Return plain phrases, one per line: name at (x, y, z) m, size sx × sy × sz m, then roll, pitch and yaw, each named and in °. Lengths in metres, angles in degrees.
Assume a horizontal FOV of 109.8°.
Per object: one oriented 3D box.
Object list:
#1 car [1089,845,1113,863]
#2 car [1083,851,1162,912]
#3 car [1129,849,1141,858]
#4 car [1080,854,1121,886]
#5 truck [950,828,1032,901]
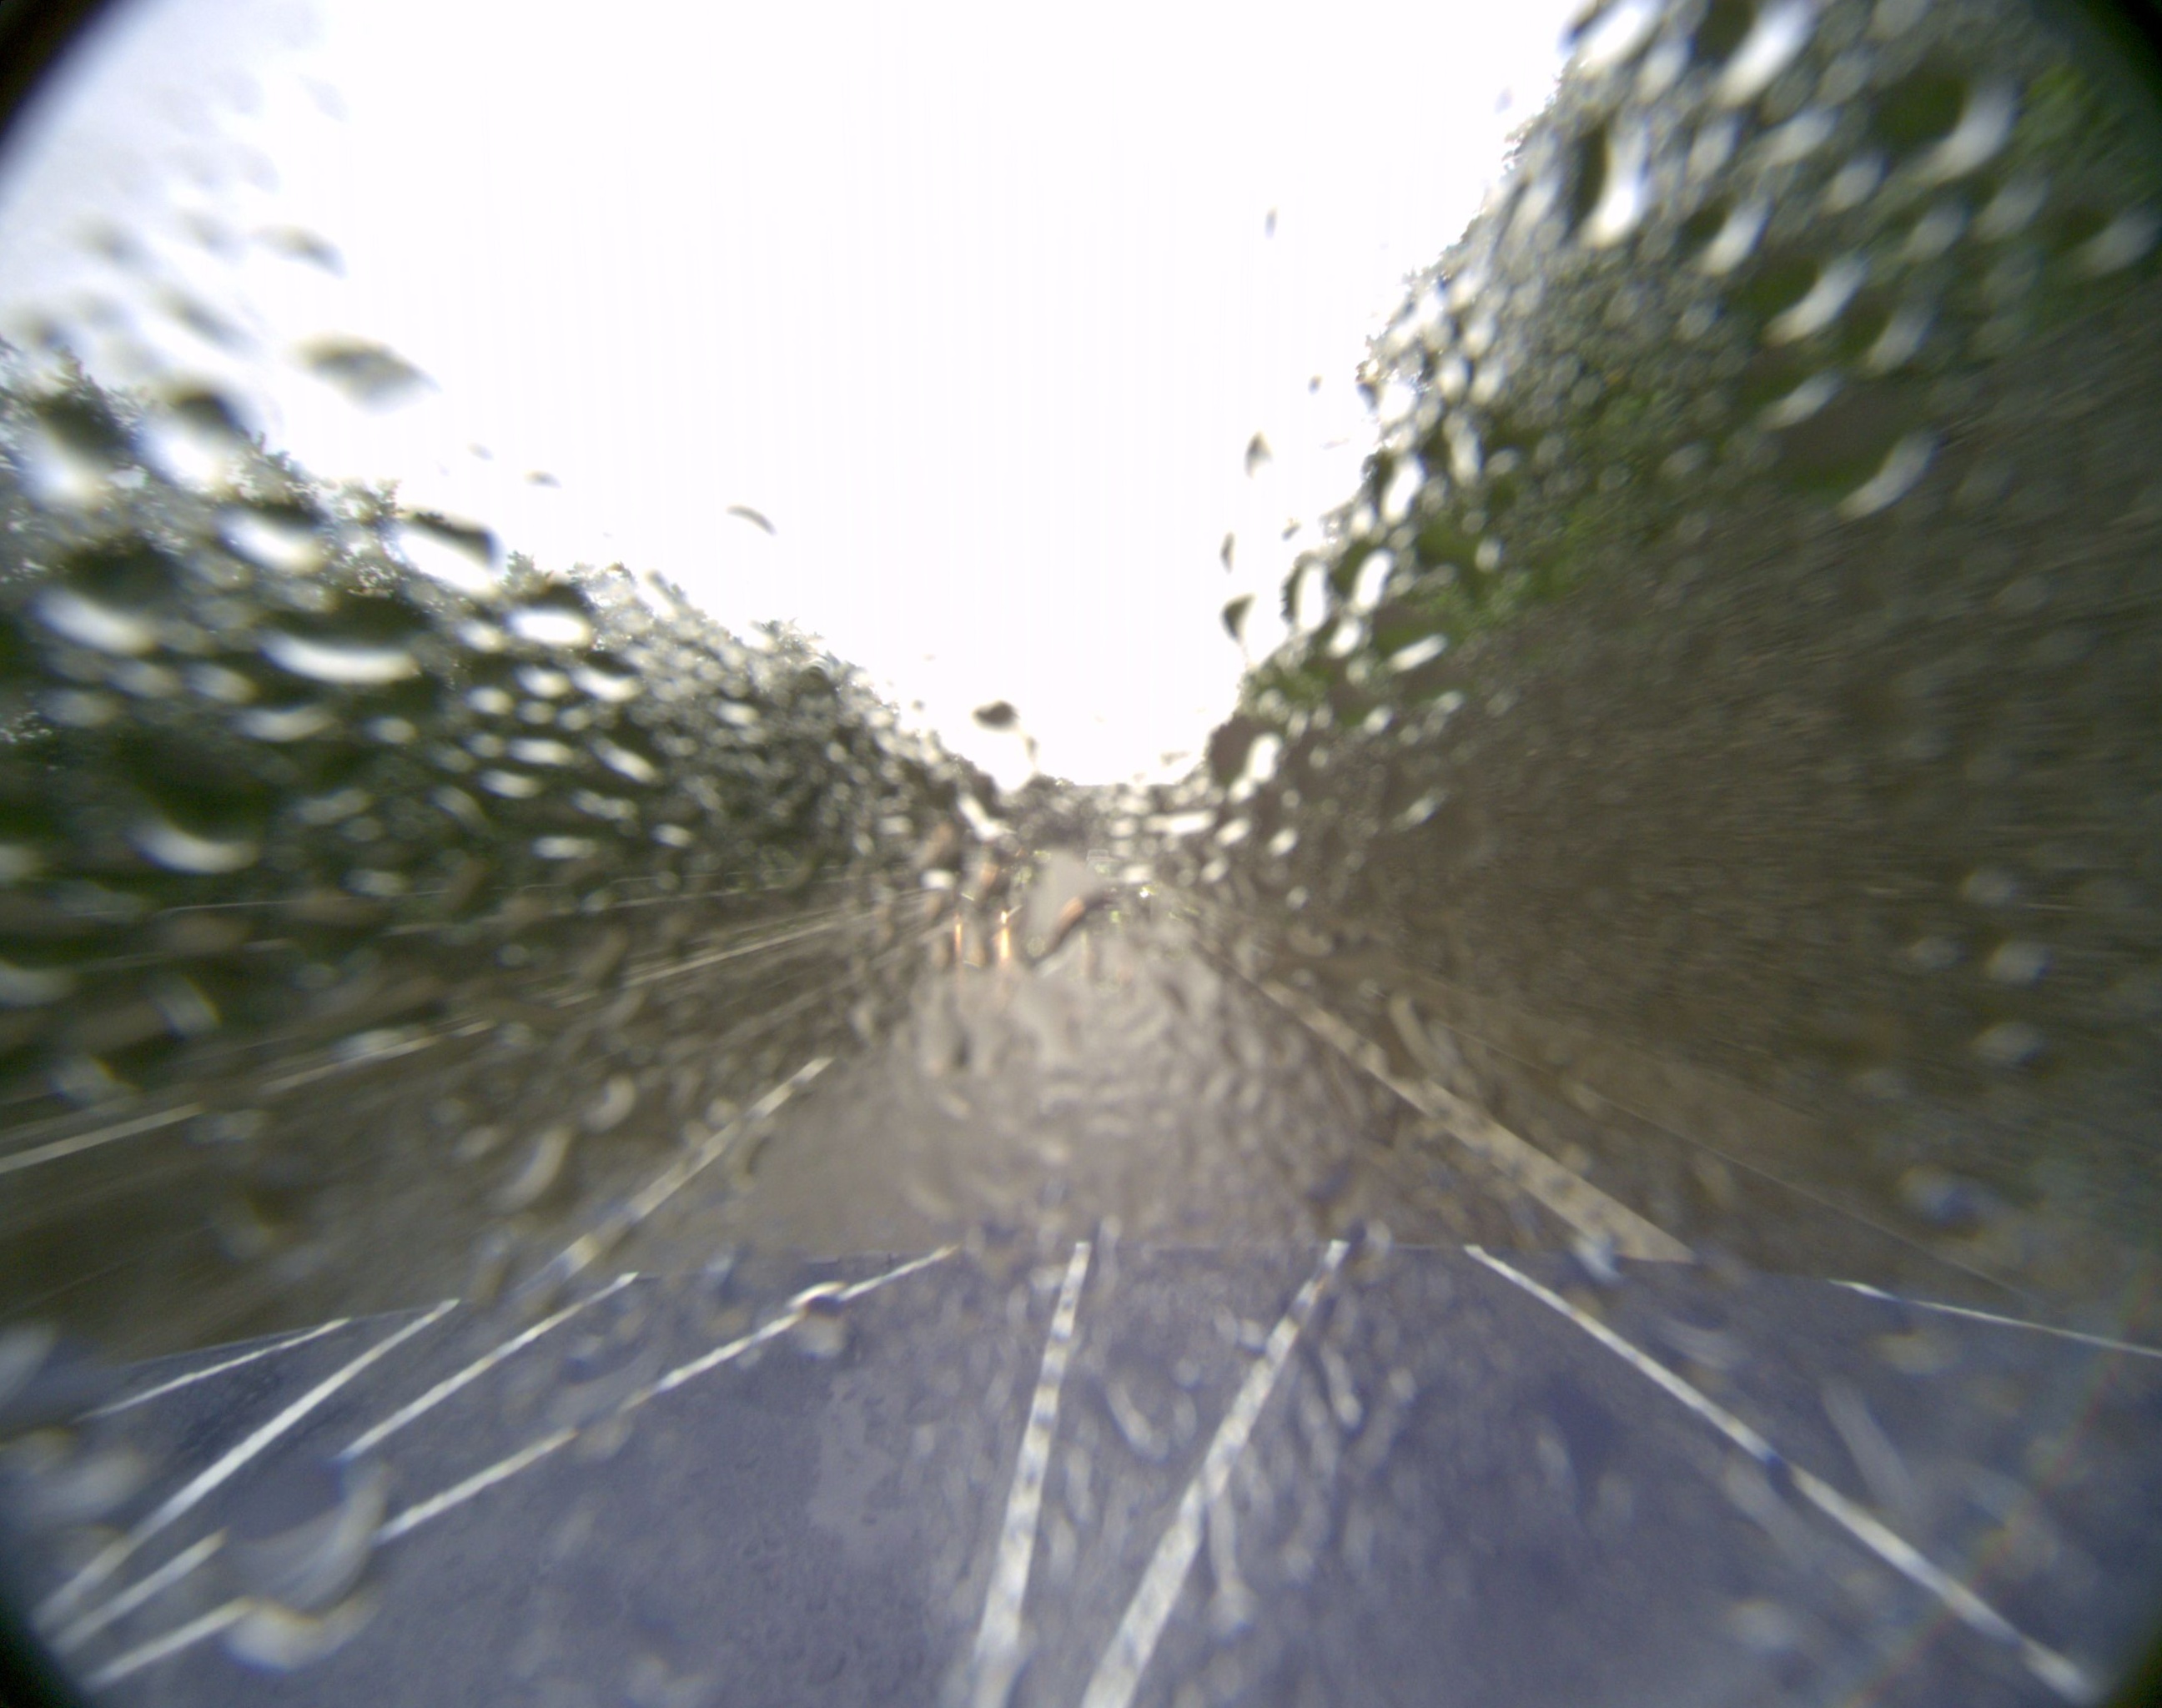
car at (1.606, -0.005, 60.686) m, size 1.827 × 1.375 × 4.000 m, roll -1°, pitch 0°, yaw 3°
car at (1.063, 0.628, 19.644) m, size 1.827 × 1.375 × 4.000 m, roll -1°, pitch 0°, yaw 3°
car at (8.840, -0.059, 123.813) m, size 1.826 × 1.375 × 4.001 m, roll -1°, pitch 0°, yaw 6°
car at (0.977, 0.733, 35.892) m, size 1.827 × 1.375 × 4.000 m, roll -1°, pitch 0°, yaw 3°
truck at (-3.379, 0.345, 30.294) m, size 2.108 × 2.481 × 8.002 m, roll -1°, pitch 0°, yaw 1°
